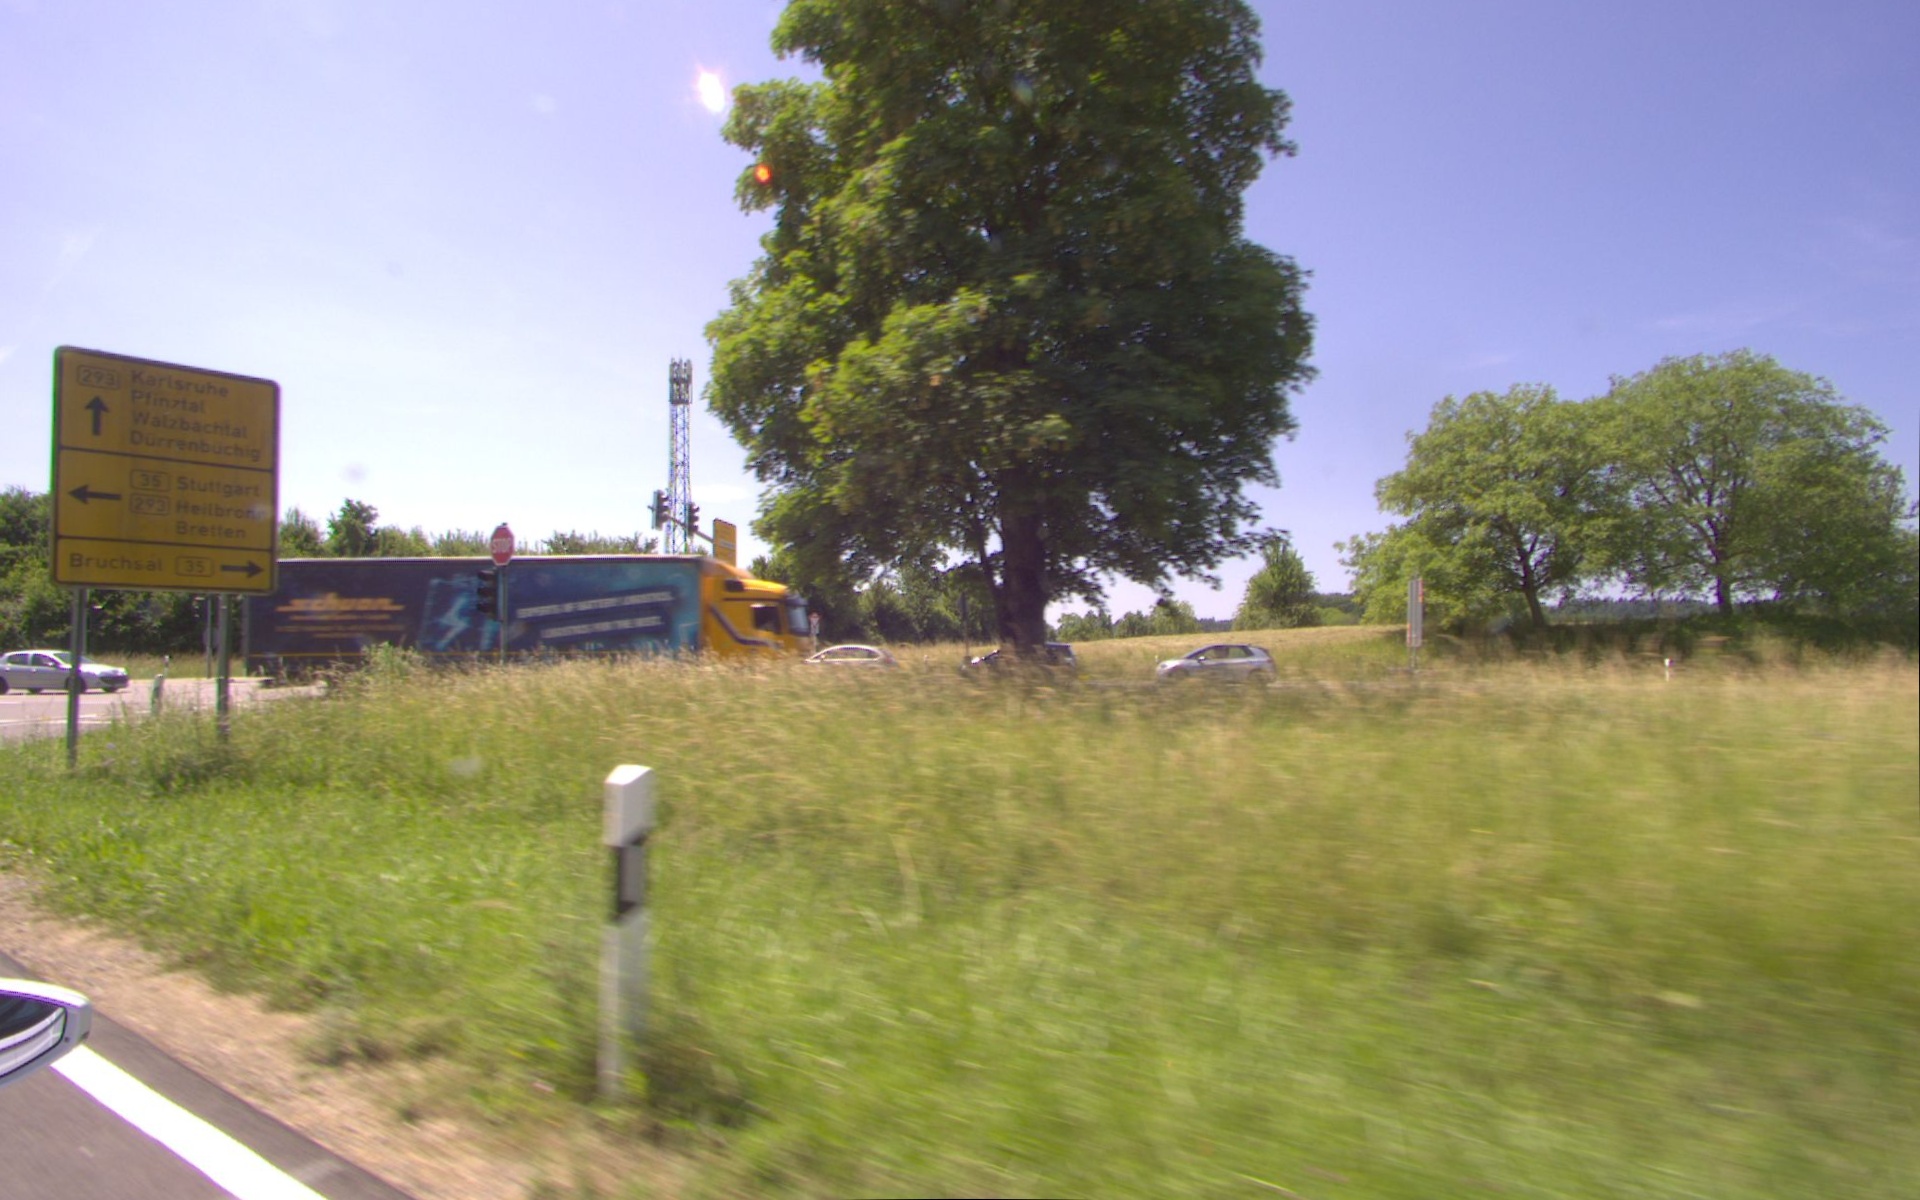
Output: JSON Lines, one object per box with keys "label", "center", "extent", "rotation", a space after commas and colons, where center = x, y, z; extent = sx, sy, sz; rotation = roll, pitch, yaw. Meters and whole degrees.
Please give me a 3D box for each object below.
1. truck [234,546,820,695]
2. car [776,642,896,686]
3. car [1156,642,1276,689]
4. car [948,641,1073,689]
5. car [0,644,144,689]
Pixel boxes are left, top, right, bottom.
{"label": "truck", "center": [-12.630, 0.631, 29.984], "extent": [16.483, 4.184, 2.853], "rotation": [0, -2, 3]}
{"label": "car", "center": [-4.492, 2.320, 36.539], "extent": [4.089, 1.489, 1.729], "rotation": [0, -1, 5]}
{"label": "car", "center": [9.015, 2.298, 35.555], "extent": [3.944, 1.573, 1.655], "rotation": [0, -1, 8]}
{"label": "car", "center": [1.838, 2.296, 35.791], "extent": [4.298, 1.573, 1.729], "rotation": [0, -1, 8]}
{"label": "car", "center": [-30.089, 2.227, 33.667], "extent": [3.710, 1.431, 1.819], "rotation": [0, -1, -4]}
